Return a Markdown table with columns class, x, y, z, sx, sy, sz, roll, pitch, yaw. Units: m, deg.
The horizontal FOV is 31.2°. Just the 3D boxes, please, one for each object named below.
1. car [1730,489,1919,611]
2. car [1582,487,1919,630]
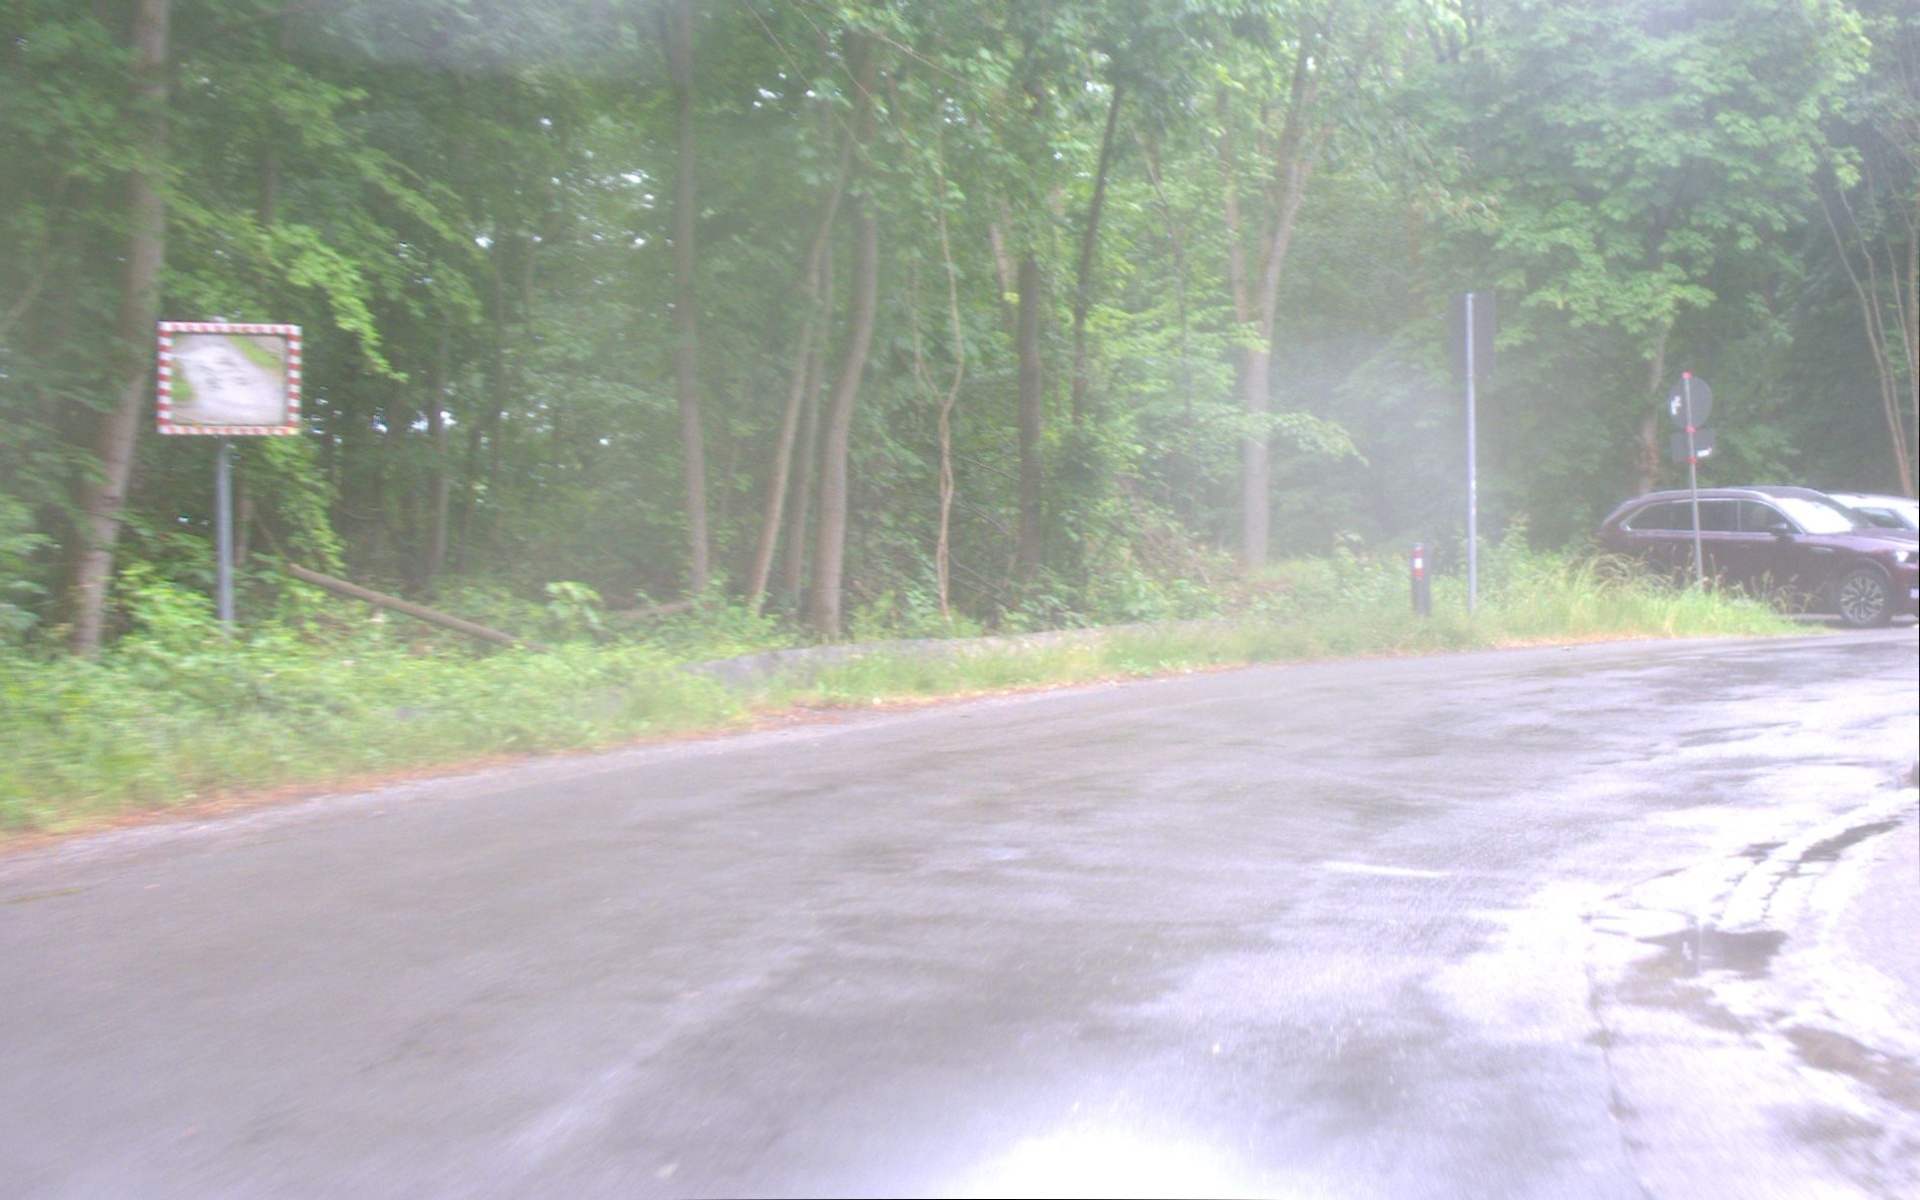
| class | x | y | z | sx | sy | sz | roll | pitch | yaw |
| --- | --- | --- | --- | --- | --- | --- | --- | --- | --- |
| car | 12.486 | -0.680 | 45.568 | 1.769 | 1.549 | 4.147 | -4 | 3 | -43 |
| car | 10.387 | -0.538 | 43.231 | 1.871 | 1.671 | 4.838 | -4 | 3 | -44 |
